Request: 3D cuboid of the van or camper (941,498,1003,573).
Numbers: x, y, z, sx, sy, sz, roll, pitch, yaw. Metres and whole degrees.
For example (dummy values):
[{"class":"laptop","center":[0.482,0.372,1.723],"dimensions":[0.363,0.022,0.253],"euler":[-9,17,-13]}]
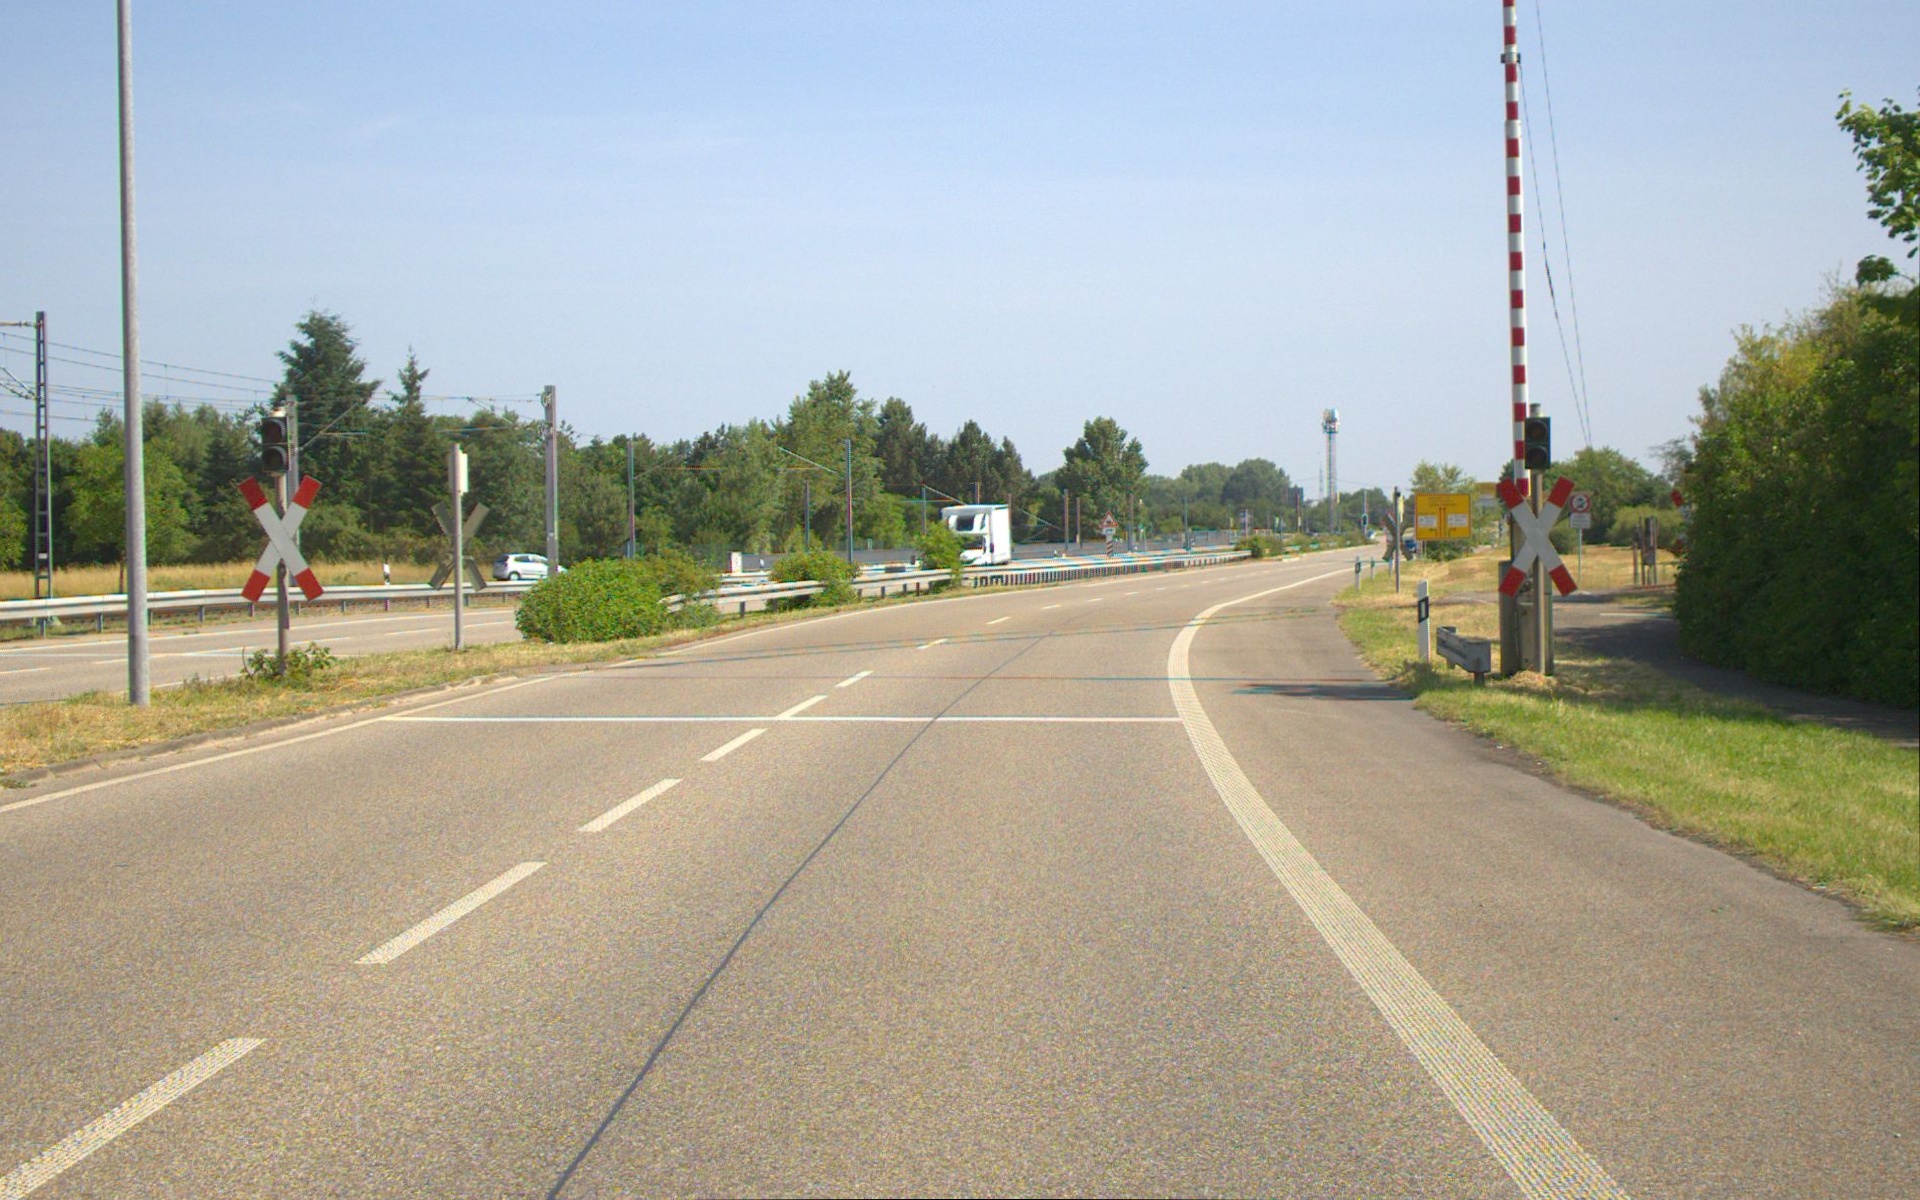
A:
[{"class":"van or camper","center":[0.642,-3.239,173.653],"dimensions":[2.876,3.668,8.643],"euler":[-1,1,2]}]
